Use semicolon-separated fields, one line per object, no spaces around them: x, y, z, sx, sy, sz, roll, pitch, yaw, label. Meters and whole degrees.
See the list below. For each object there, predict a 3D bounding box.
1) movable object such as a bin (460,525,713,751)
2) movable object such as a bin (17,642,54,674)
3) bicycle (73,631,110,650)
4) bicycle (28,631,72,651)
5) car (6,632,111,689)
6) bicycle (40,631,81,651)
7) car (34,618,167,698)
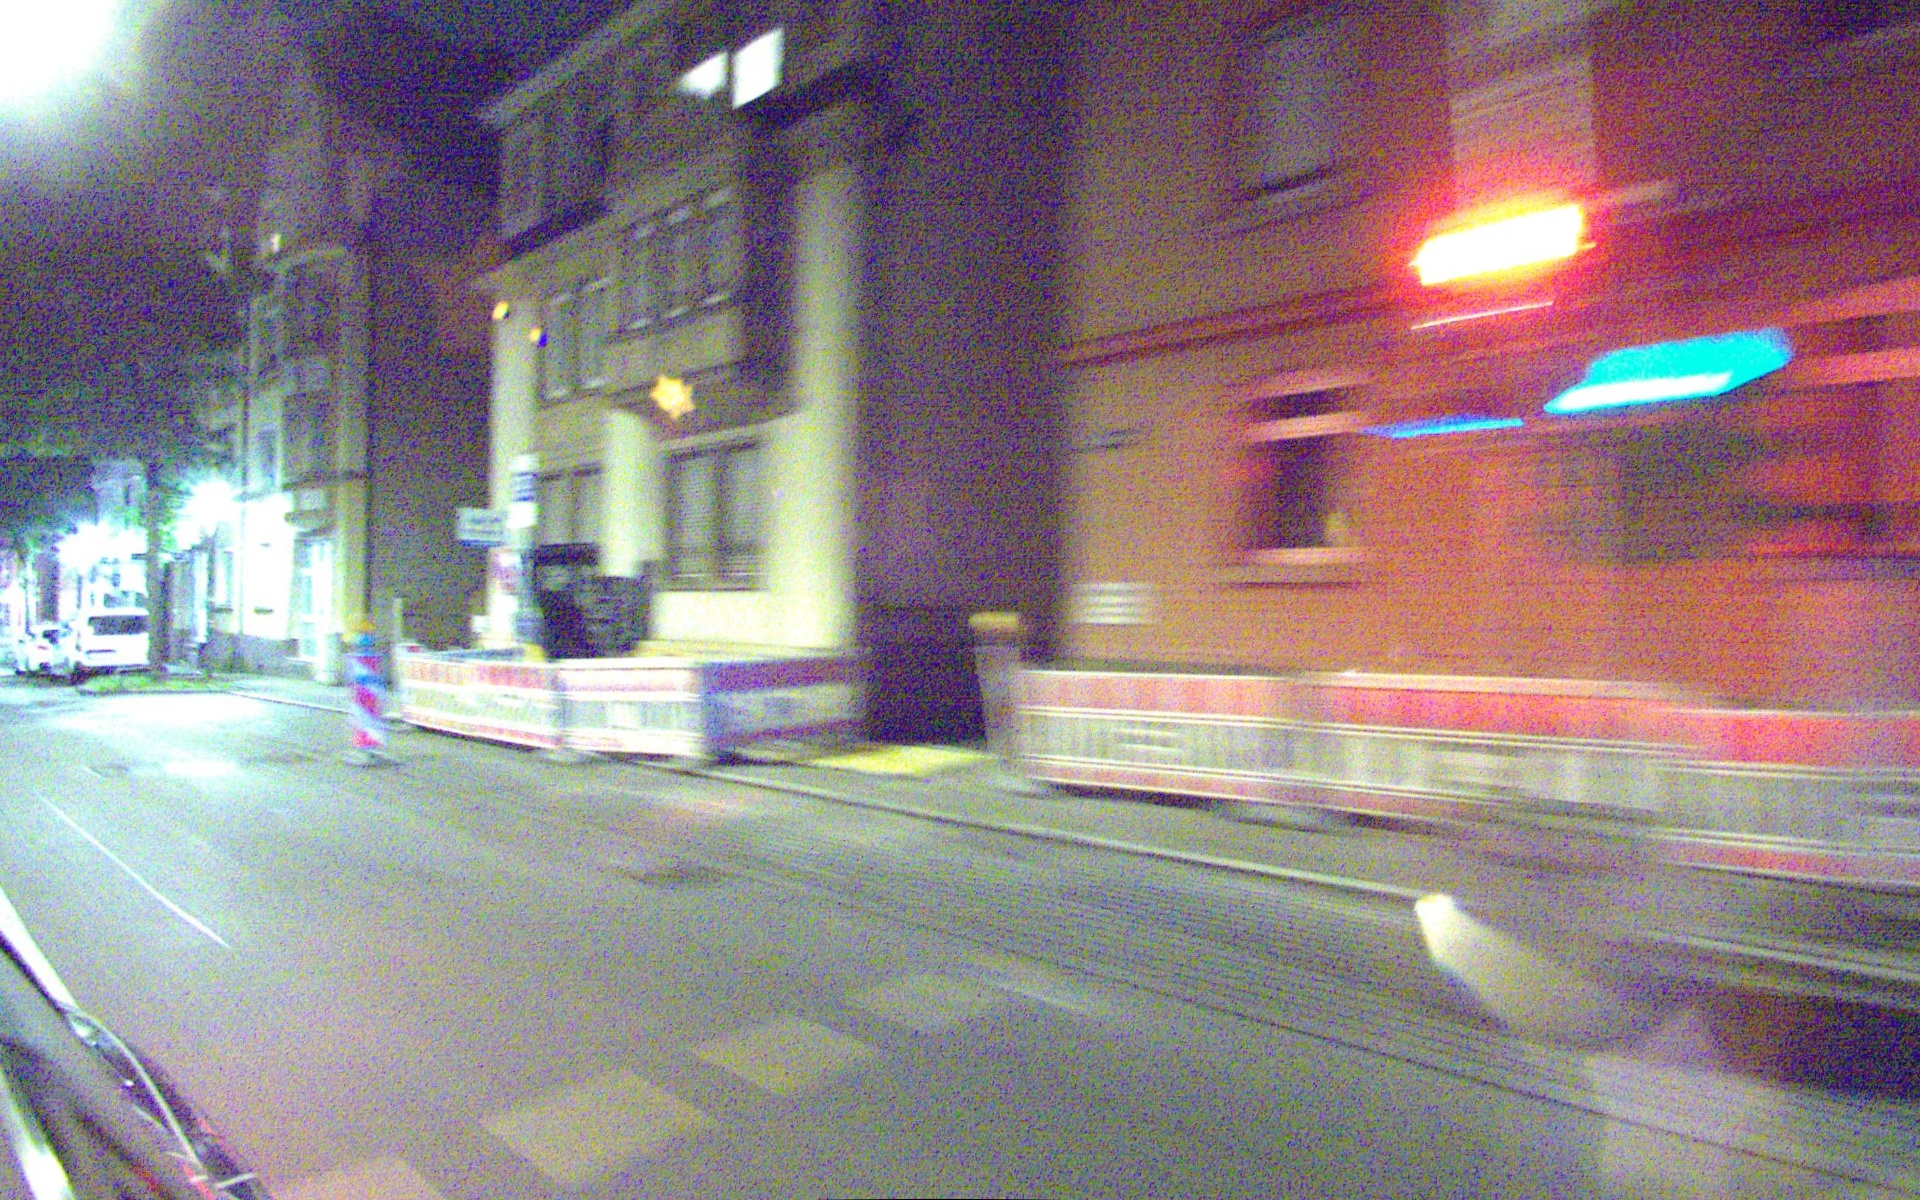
-5.161;0.500;13.746;3.909;2.647;1.554;-1;-3;42;movable object such as a bin
-31.786;1.980;34.798;0.617;1.057;0.689;0;0;1;movable object such as a bin
-53.077;2.464;61.863;1.752;1.160;0.582;0;-2;0;bicycle
-53.065;2.372;59.015;1.760;1.160;0.761;1;-2;-6;bicycle
-26.465;1.707;29.642;4.880;1.461;1.819;-1;-1;43;car
-53.160;2.399;59.836;1.750;1.160;0.615;1;-2;-6;bicycle
-22.144;1.411;26.009;4.811;1.857;1.863;-1;-2;41;car
